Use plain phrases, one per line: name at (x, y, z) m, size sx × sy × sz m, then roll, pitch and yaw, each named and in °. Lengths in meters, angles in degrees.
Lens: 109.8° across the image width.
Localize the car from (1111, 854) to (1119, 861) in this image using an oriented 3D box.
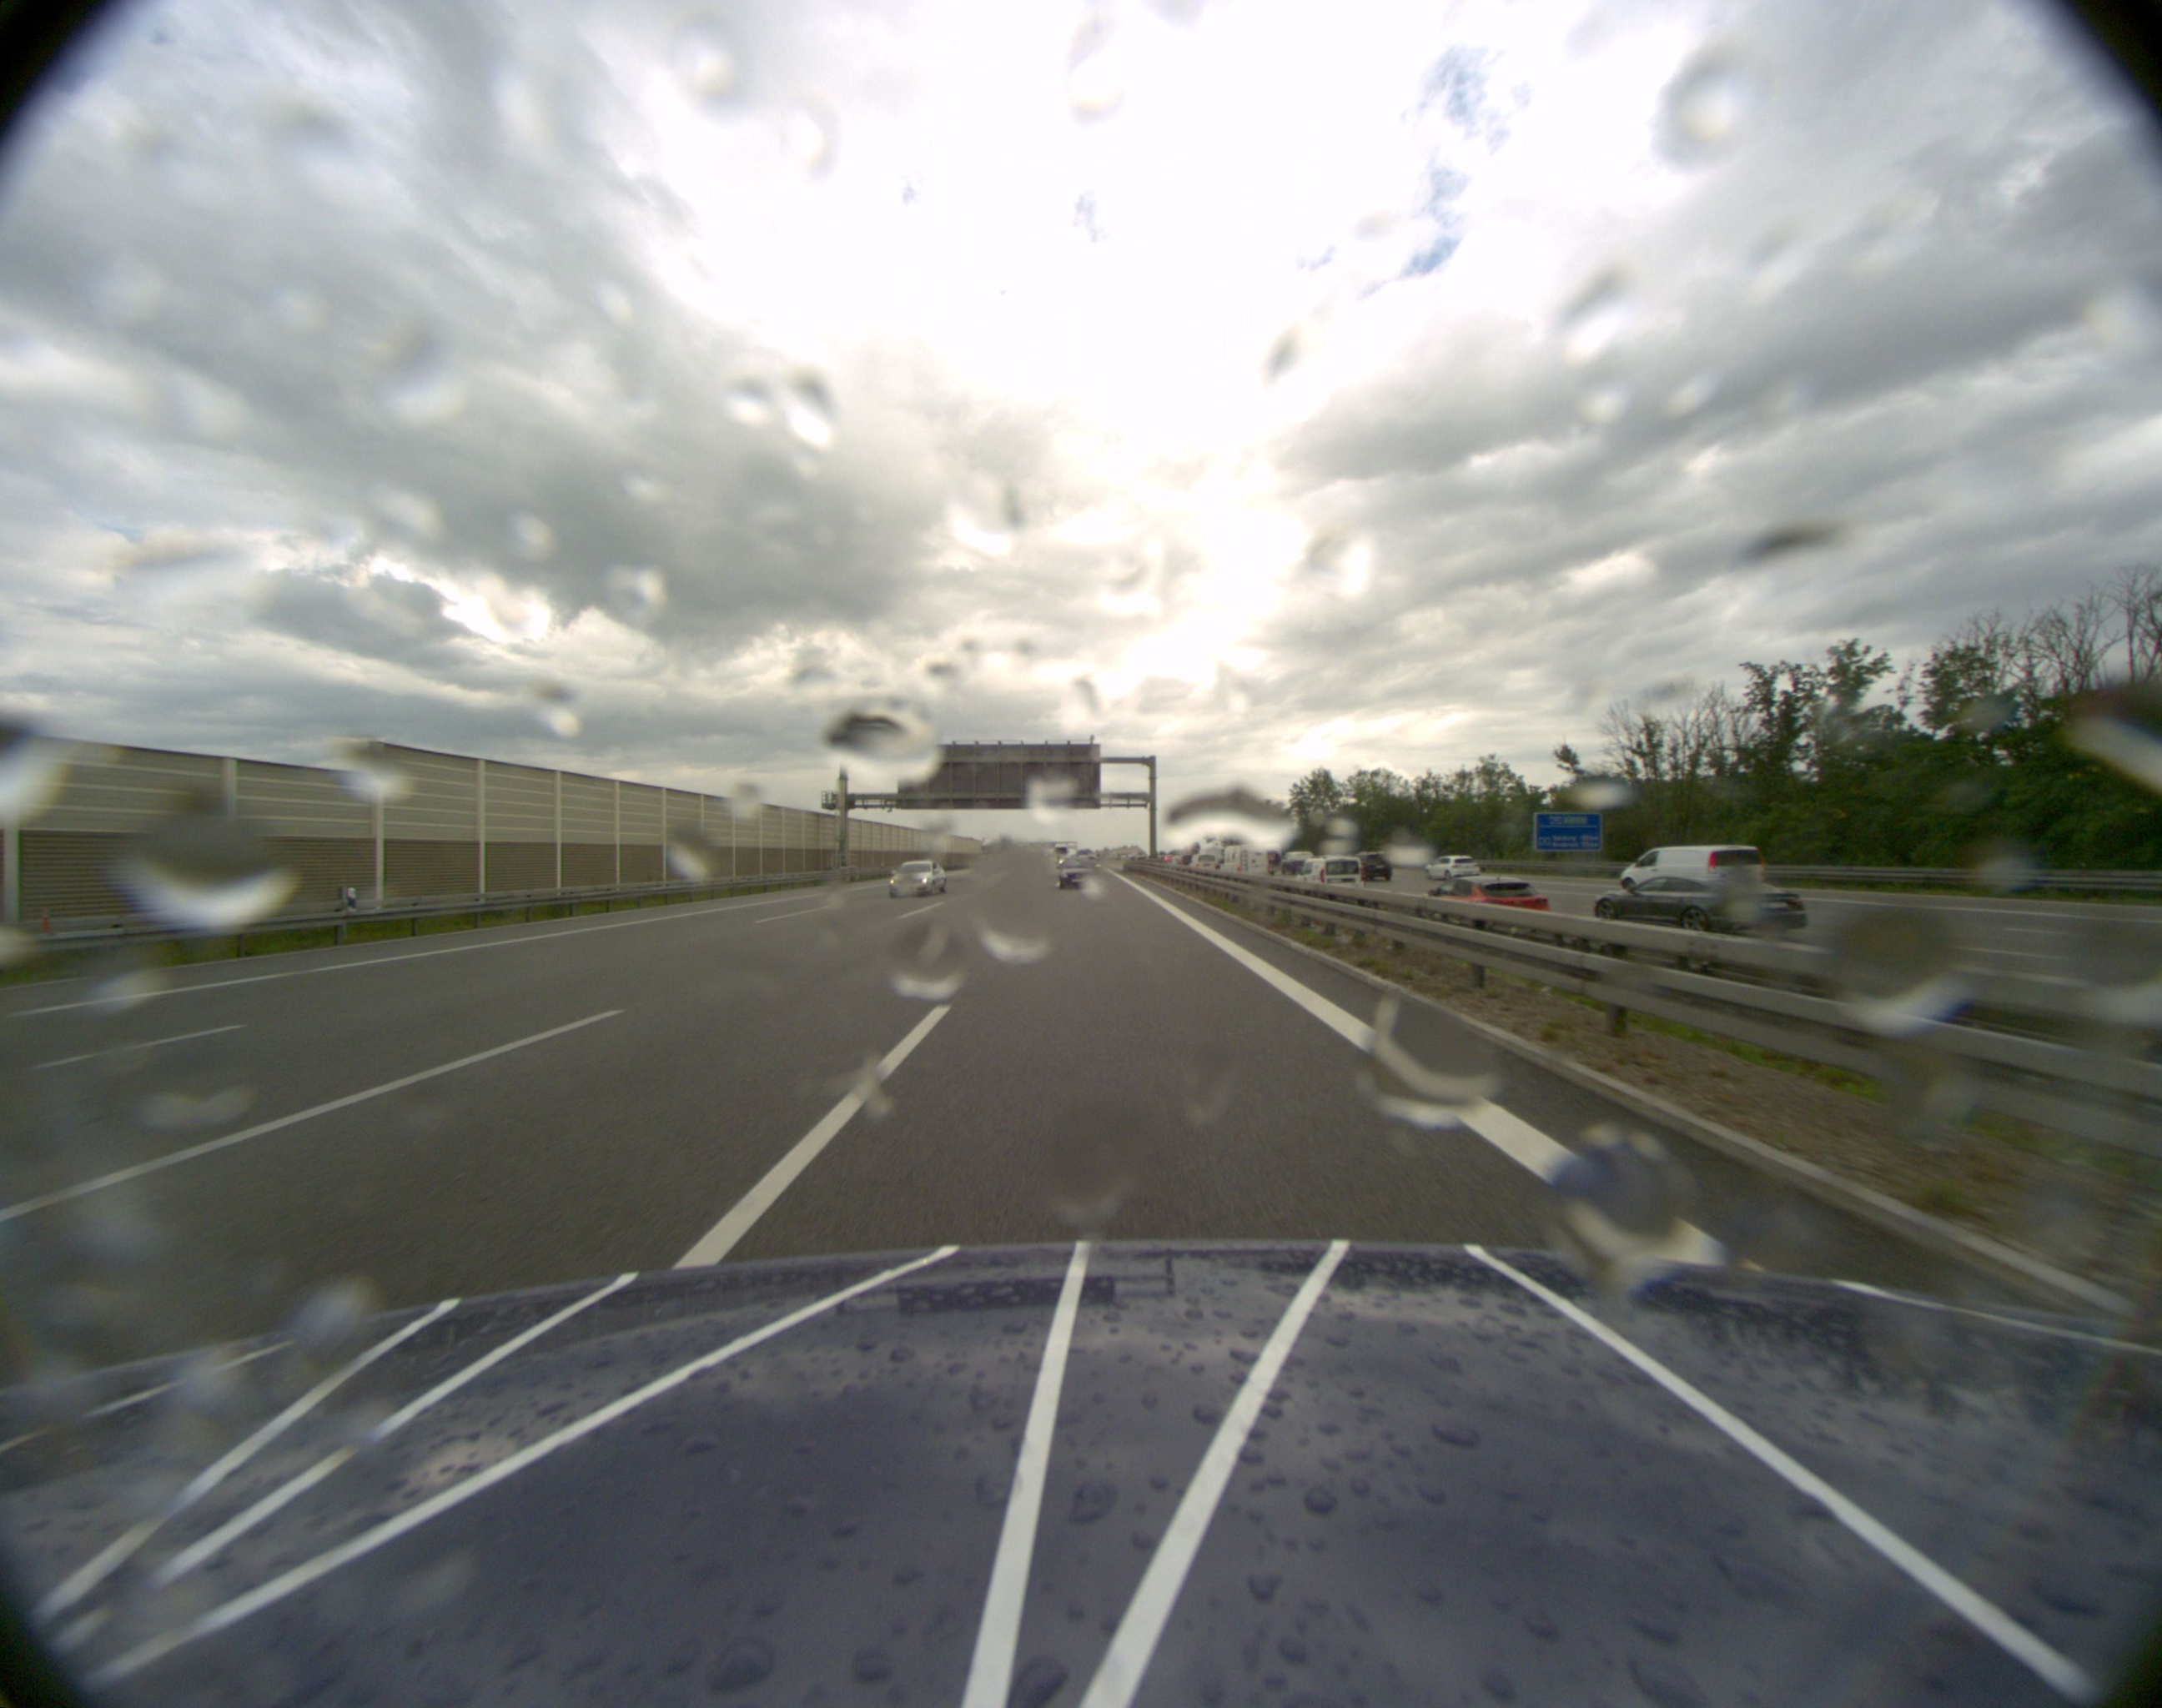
car at (9.223, 0.975, 207.107) m, size 1.727 × 1.636 × 4.992 m, roll -3°, pitch 0°, yaw 0°

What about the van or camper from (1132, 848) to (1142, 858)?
van or camper at (19.545, -0.406, 266.892) m, size 2.632 × 3.104 × 8.475 m, roll -3°, pitch 0°, yaw -2°

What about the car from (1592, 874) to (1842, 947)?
car at (14.254, 1.192, 17.478) m, size 1.899 × 1.289 × 4.579 m, roll -1°, pitch 0°, yaw 0°

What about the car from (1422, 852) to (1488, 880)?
car at (22.608, 0.678, 46.107) m, size 1.823 × 1.598 × 4.477 m, roll -1°, pitch 0°, yaw 0°

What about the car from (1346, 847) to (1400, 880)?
car at (19.030, 0.572, 49.727) m, size 1.823 × 2.065 × 4.477 m, roll -1°, pitch 0°, yaw 0°

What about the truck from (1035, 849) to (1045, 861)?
truck at (-13.981, 0.383, 255.864) m, size 2.600 × 4.087 × 11.366 m, roll -2°, pitch -1°, yaw -6°

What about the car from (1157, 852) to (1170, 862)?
car at (15.021, 0.561, 138.561) m, size 1.727 × 1.593 × 4.644 m, roll -3°, pitch 0°, yaw 0°

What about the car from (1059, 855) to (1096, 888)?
car at (-0.101, 0.782, 34.964) m, size 1.578 × 1.394 × 4.001 m, roll -1°, pitch 0°, yaw 1°

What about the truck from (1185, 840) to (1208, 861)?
truck at (22.486, -0.673, 148.183) m, size 2.923 × 3.991 × 9.582 m, roll -2°, pitch 0°, yaw -1°

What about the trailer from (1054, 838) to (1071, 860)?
trailer at (-3.847, -0.940, 155.973) m, size 2.926 × 4.187 × 13.195 m, roll -3°, pitch -1°, yaw -2°

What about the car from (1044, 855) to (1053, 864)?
car at (-7.860, 1.341, 185.406) m, size 1.998 × 2.001 × 4.000 m, roll -3°, pitch 0°, yaw 0°

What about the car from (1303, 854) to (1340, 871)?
car at (22.164, 0.735, 70.273) m, size 1.987 × 1.485 × 4.477 m, roll -1°, pitch 0°, yaw 0°

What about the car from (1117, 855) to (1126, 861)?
car at (10.063, 0.907, 188.653) m, size 1.727 × 1.420 × 5.230 m, roll -3°, pitch 0°, yaw 0°

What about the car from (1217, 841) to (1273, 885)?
car at (10.607, 0.520, 49.761) m, size 2.029 × 2.662 × 7.310 m, roll -1°, pitch 0°, yaw 0°

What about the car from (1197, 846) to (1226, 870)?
car at (15.299, 0.410, 89.815) m, size 2.054 × 2.637 × 7.735 m, roll -1°, pitch 0°, yaw 0°

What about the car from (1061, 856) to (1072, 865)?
car at (-2.110, 0.962, 112.552) m, size 1.498 × 1.394 × 4.000 m, roll -2°, pitch -1°, yaw -1°

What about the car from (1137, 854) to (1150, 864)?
car at (10.879, 0.864, 132.733) m, size 1.727 × 1.593 × 4.913 m, roll -3°, pitch 0°, yaw 0°

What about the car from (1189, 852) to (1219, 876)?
car at (10.923, 0.833, 67.903) m, size 1.823 × 2.065 × 5.374 m, roll -1°, pitch 0°, yaw 0°

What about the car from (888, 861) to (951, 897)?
car at (-6.778, 1.028, 32.272) m, size 1.732 × 1.394 × 4.000 m, roll -2°, pitch -1°, yaw 1°

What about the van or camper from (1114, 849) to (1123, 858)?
van or camper at (13.086, -0.147, 264.936) m, size 2.632 × 2.934 × 7.357 m, roll -3°, pitch 0°, yaw -2°

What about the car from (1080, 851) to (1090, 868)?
car at (0.703, 1.095, 142.541) m, size 1.645 × 3.041 × 4.588 m, roll -2°, pitch 0°, yaw -2°

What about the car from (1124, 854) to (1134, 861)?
car at (10.446, 0.807, 164.723) m, size 1.727 × 1.420 × 4.648 m, roll -3°, pitch 0°, yaw -1°

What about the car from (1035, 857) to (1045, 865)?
car at (-7.702, 1.368, 141.898) m, size 1.698 × 1.394 × 3.999 m, roll -2°, pitch -1°, yaw -2°

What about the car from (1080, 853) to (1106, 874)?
car at (0.880, 0.721, 58.023) m, size 1.777 × 1.451 × 4.480 m, roll -2°, pitch -1°, yaw -1°

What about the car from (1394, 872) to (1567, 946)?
car at (9.647, 1.256, 18.819) m, size 1.899 × 1.452 × 4.477 m, roll -1°, pitch 0°, yaw 0°

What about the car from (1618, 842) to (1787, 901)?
car at (22.026, 0.562, 27.278) m, size 1.898 × 1.901 × 5.138 m, roll -1°, pitch 0°, yaw 1°

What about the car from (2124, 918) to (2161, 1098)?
car at (9.947, 1.290, 4.313) m, size 1.899 × 1.480 × 4.477 m, roll -1°, pitch 0°, yaw 0°

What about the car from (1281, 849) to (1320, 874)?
car at (18.675, 0.588, 64.849) m, size 1.987 × 2.065 × 4.477 m, roll -1°, pitch 0°, yaw 0°

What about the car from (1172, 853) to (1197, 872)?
car at (10.571, 0.819, 78.214) m, size 1.823 × 1.893 × 5.423 m, roll -1°, pitch 0°, yaw 0°

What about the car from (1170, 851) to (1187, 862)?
car at (14.678, 0.342, 114.238) m, size 1.727 × 1.485 × 4.912 m, roll -3°, pitch 0°, yaw -1°

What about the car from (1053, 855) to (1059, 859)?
car at (-7.740, 0.918, 232.410) m, size 1.698 × 1.394 × 3.999 m, roll -2°, pitch -1°, yaw -2°

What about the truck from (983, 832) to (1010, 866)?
truck at (-10.707, -0.587, 96.611) m, size 2.752 × 4.011 × 5.725 m, roll -2°, pitch 0°, yaw -1°

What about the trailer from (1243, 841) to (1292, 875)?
trailer at (15.211, 0.289, 62.594) m, size 2.347 × 2.637 × 7.183 m, roll -1°, pitch 0°, yaw 1°

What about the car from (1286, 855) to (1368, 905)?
car at (10.465, 1.036, 32.792) m, size 1.823 × 1.941 × 5.222 m, roll -1°, pitch 0°, yaw 0°

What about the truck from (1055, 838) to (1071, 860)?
truck at (-3.607, -1.020, 149.960) m, size 2.914 × 4.145 × 5.192 m, roll -3°, pitch 0°, yaw -2°

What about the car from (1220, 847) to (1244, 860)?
car at (18.276, -0.061, 92.154) m, size 1.987 × 1.485 × 4.913 m, roll -1°, pitch 0°, yaw 0°

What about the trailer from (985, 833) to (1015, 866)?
trailer at (-10.885, -0.490, 103.587) m, size 2.768 × 4.008 × 14.452 m, roll -2°, pitch -1°, yaw -1°

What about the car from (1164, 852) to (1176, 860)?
car at (18.353, 0.439, 156.504) m, size 1.727 × 1.593 × 4.518 m, roll -3°, pitch 0°, yaw 0°

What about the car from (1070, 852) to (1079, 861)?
car at (-1.488, 0.563, 178.661) m, size 1.998 × 2.001 × 4.000 m, roll -3°, pitch 0°, yaw 0°

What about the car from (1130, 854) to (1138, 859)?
car at (13.849, 0.644, 198.973) m, size 1.727 × 1.410 × 4.201 m, roll -1°, pitch 0°, yaw 0°
